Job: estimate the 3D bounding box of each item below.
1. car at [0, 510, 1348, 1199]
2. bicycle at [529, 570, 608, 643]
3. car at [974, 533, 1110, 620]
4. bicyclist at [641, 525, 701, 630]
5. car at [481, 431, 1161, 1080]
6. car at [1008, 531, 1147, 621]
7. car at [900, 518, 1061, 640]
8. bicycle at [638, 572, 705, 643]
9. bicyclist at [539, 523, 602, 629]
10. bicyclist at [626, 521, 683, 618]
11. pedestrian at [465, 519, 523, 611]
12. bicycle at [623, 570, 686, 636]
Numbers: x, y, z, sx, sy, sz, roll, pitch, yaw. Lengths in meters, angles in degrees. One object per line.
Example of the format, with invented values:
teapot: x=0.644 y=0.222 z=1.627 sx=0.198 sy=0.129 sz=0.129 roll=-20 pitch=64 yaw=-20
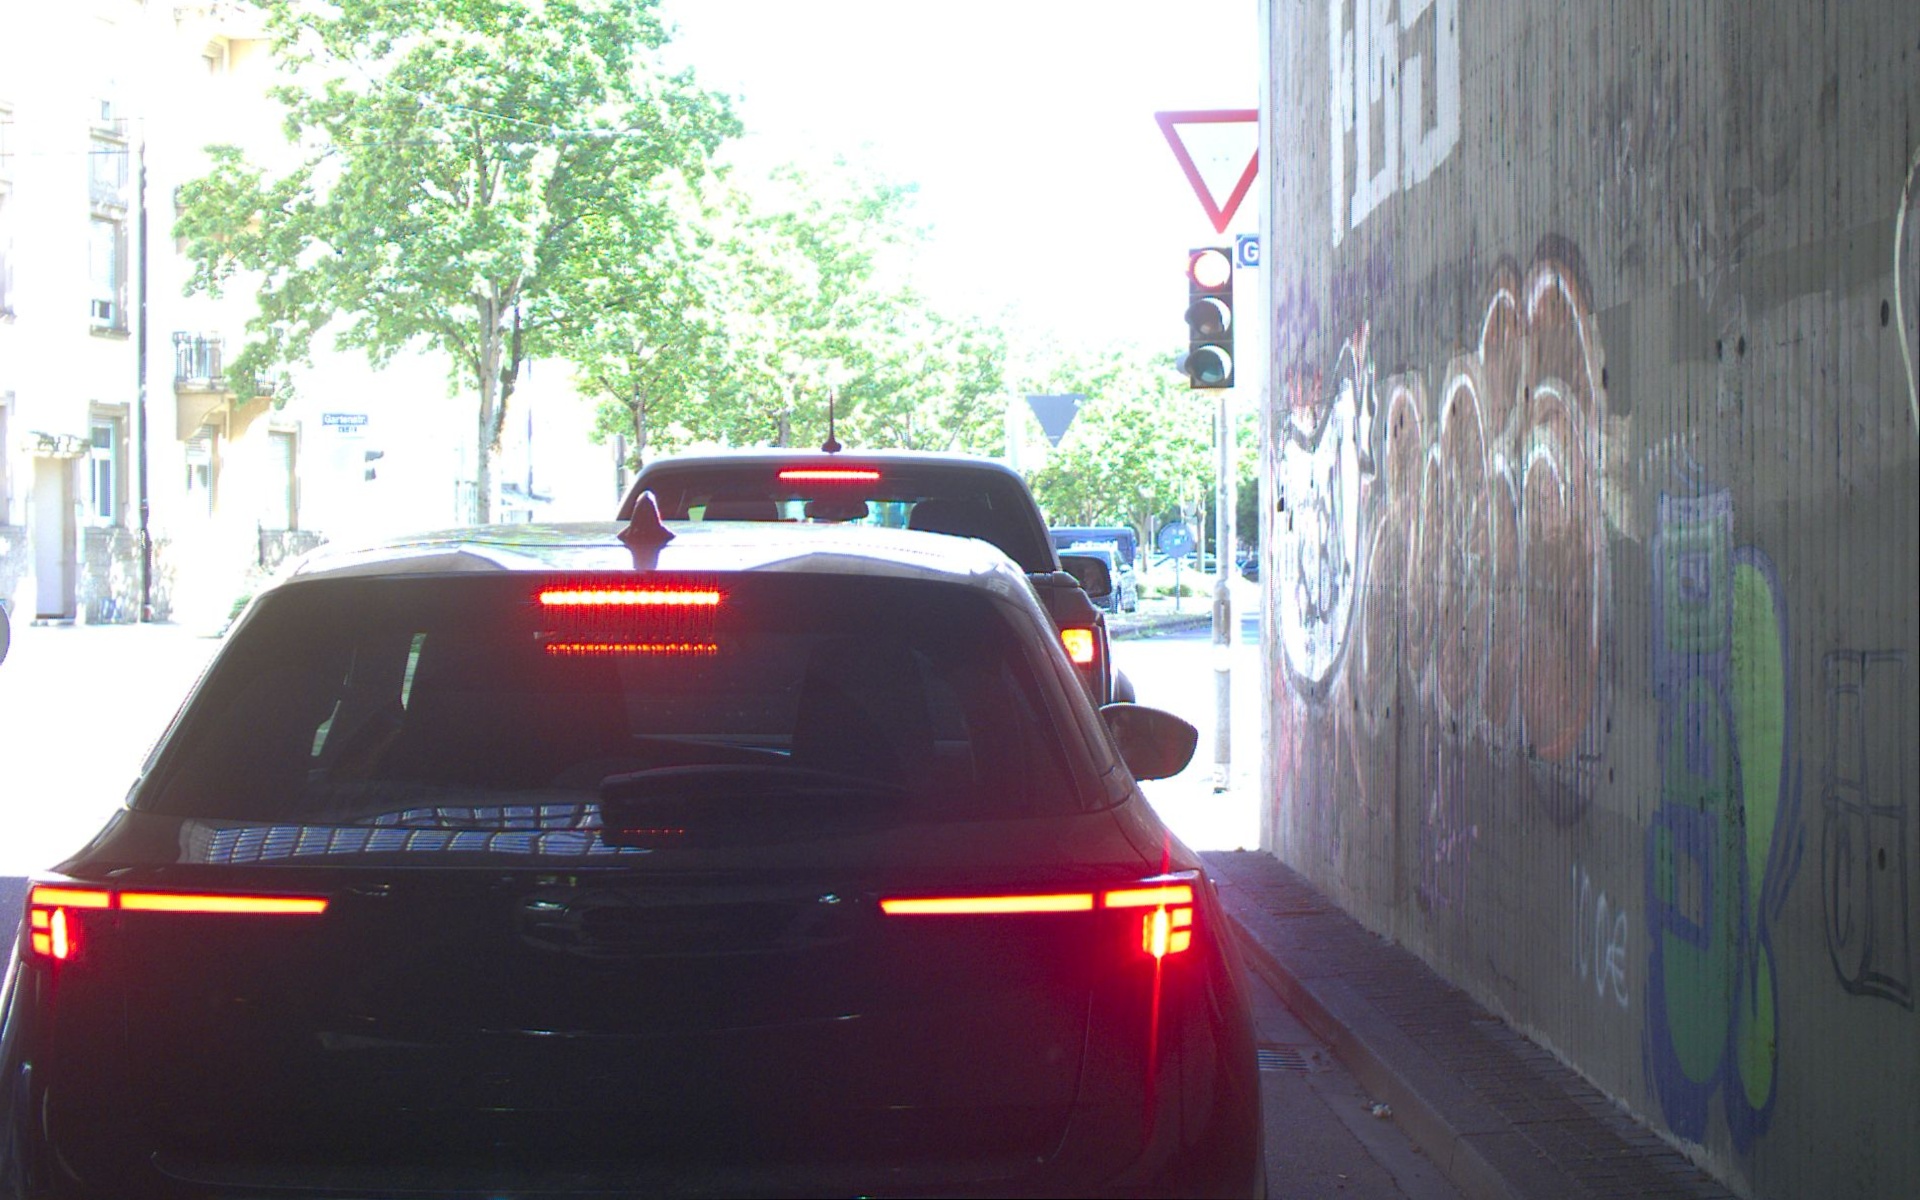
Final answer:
car: x=-0.502 y=0.629 z=6.065 sx=1.882 sy=1.532 sz=3.964 roll=0 pitch=1 yaw=-1
bicycle: x=-5.854 y=0.093 z=51.512 sx=0.732 sy=1.064 sz=1.688 roll=1 pitch=1 yaw=9
car: x=1.513 y=-0.399 z=62.189 sx=1.969 sy=1.492 sz=3.895 roll=0 pitch=-1 yaw=9
bicyclist: x=-4.397 y=-0.351 z=52.347 sx=0.729 sy=1.576 sz=0.814 roll=1 pitch=0 yaw=9
car: x=-0.420 y=0.410 z=11.886 sx=1.945 sy=1.853 sz=3.964 roll=0 pitch=1 yaw=-1
car: x=2.400 y=-0.456 z=68.999 sx=2.221 sy=1.713 sz=4.458 roll=0 pitch=-1 yaw=10
car: x=0.299 y=-0.243 z=44.168 sx=1.968 sy=1.492 sz=3.896 roll=0 pitch=-1 yaw=1
bicycle: x=-4.381 y=0.106 z=52.311 sx=0.626 sy=1.064 sz=1.688 roll=1 pitch=1 yaw=9
bicyclist: x=-5.835 y=-0.363 z=51.537 sx=0.729 sy=1.576 sz=0.814 roll=1 pitch=0 yaw=9
bicyclist: x=-5.025 y=-0.504 z=56.538 sx=0.729 sy=1.576 sz=0.814 roll=1 pitch=0 yaw=9
pedestrian: x=-10.289 y=-0.785 z=75.894 sx=0.992 sy=2.007 sz=1.088 roll=0 pitch=1 yaw=8
bicycle: x=-5.023 y=0.039 z=56.663 sx=0.626 sy=1.064 sz=1.688 roll=1 pitch=1 yaw=9
